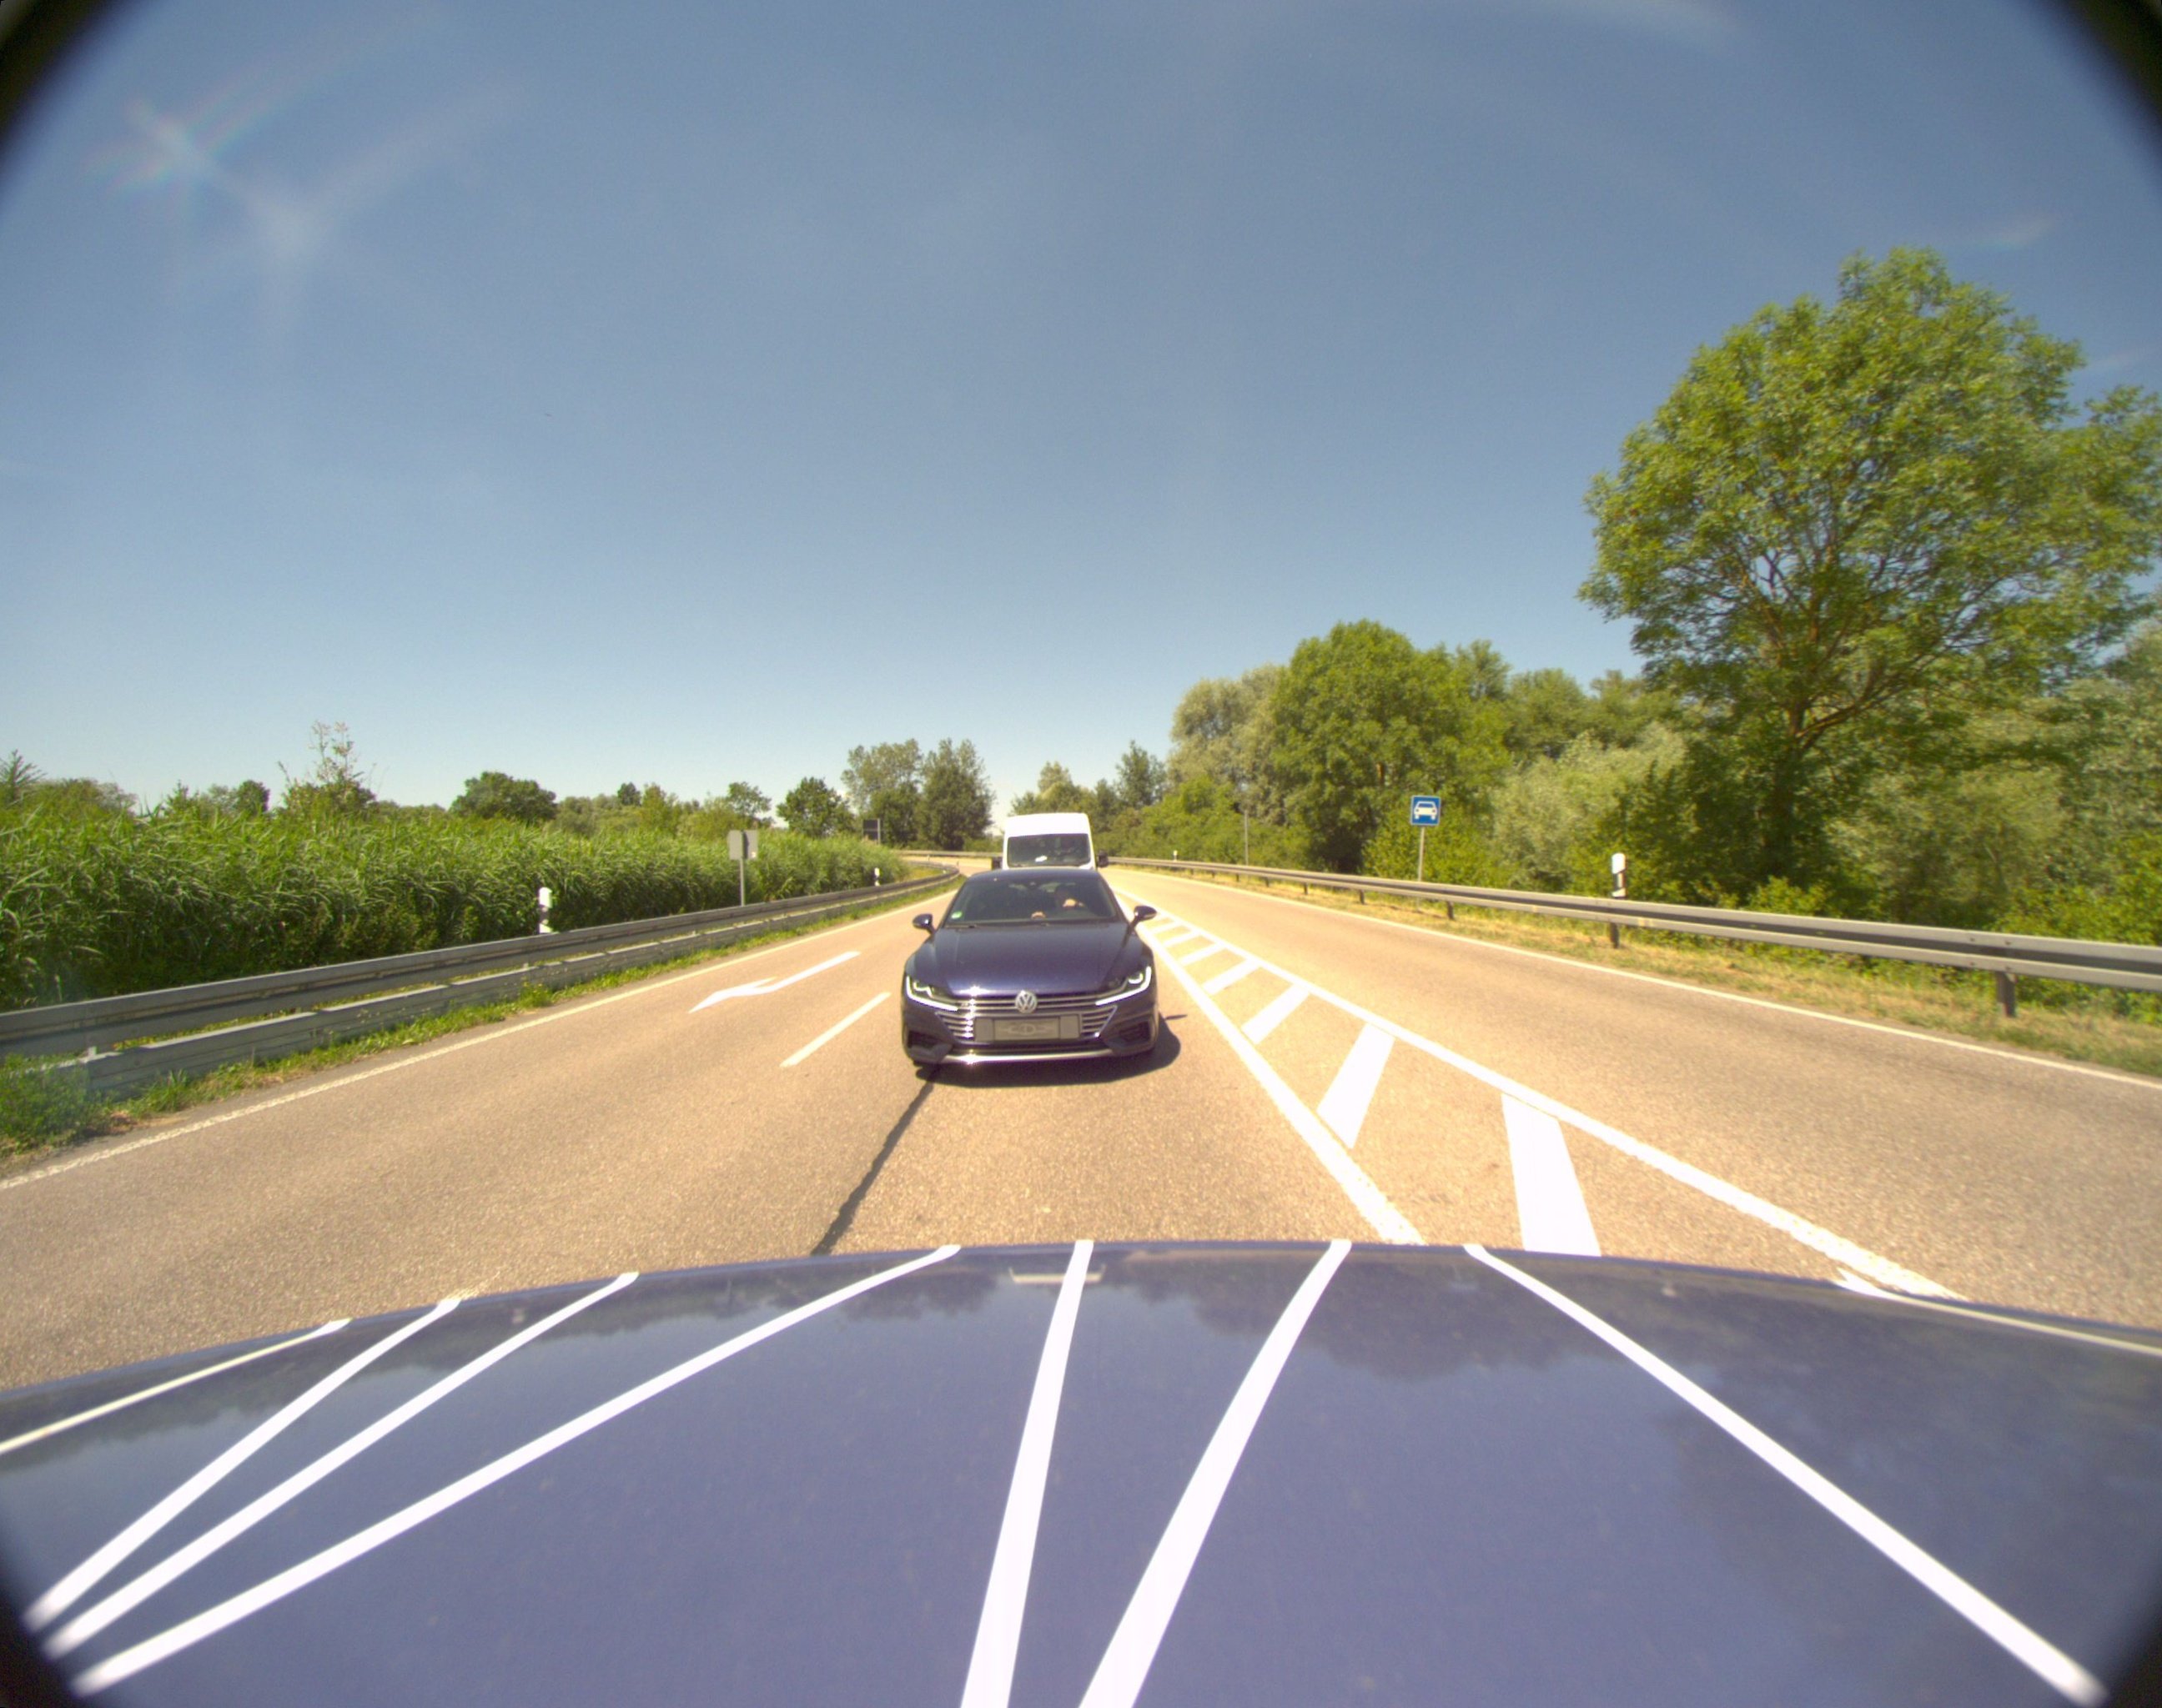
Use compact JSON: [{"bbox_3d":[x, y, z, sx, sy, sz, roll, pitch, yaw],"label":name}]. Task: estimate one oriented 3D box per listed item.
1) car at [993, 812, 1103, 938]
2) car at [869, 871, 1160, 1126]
[{"bbox_3d":[-0.636,0.384,17.757,2.059,2.376,5.826,-2,1,0],"label":"car"},{"bbox_3d":[-0.403,0.947,6.741,1.761,1.401,3.999,-2,1,0],"label":"car"}]
